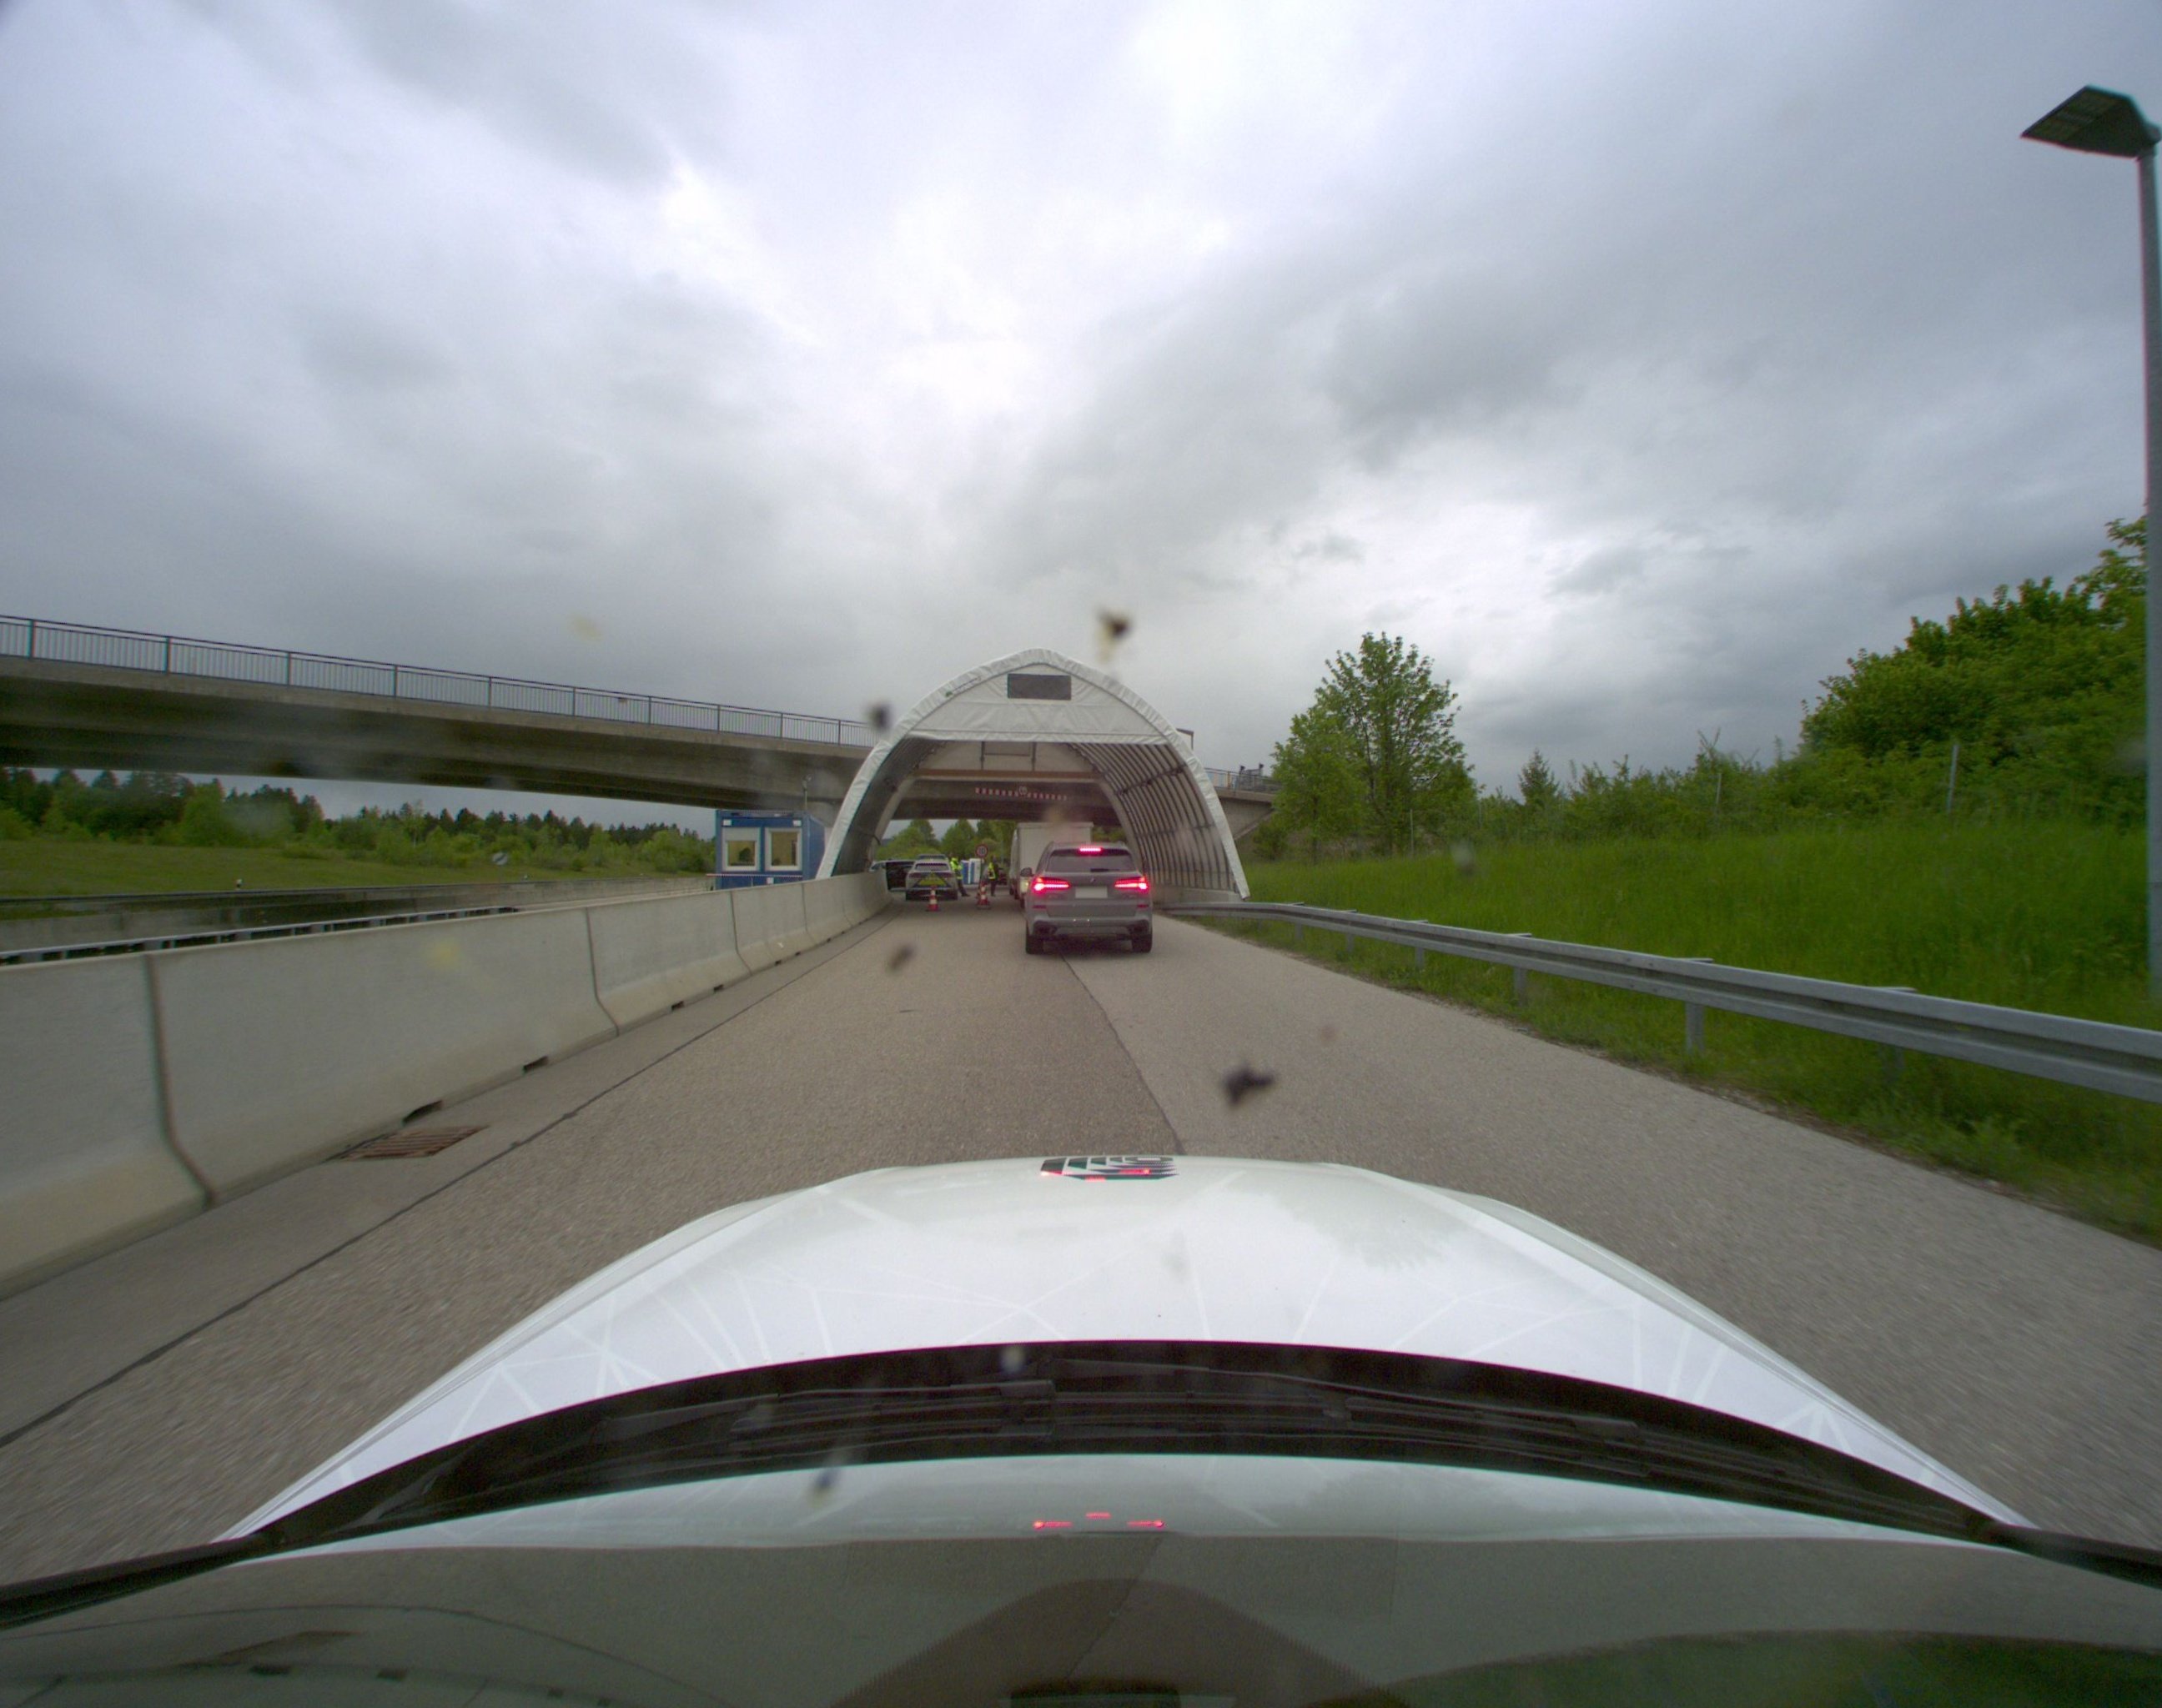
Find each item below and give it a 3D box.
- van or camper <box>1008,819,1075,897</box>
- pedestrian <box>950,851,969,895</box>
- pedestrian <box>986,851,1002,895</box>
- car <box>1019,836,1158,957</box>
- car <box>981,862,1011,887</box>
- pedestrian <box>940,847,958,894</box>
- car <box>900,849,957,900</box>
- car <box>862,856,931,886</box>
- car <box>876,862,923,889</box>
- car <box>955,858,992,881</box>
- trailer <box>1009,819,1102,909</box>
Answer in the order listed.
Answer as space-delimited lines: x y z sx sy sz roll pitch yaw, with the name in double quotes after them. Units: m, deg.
-1.664 0.203 31.966 2.155 2.764 5.856 -1 -1 -7 "van or camper"
-4.979 0.770 33.357 0.720 1.775 0.688 -1 -1 -9 "pedestrian"
-3.613 0.771 33.648 0.604 1.775 0.648 -1 -1 -9 "pedestrian"
0.071 0.642 13.816 1.988 1.719 3.997 -1 -1 -1 "car"
-6.591 1.569 62.667 1.706 1.854 3.981 -1 -1 -14 "car"
-5.551 0.692 34.289 0.720 1.945 0.688 -1 -1 -9 "pedestrian"
-5.729 0.747 30.916 1.993 1.772 3.753 -1 -1 -9 "car"
-12.102 1.096 53.548 3.966 1.854 1.712 -2 -1 6 "car"
-10.398 1.235 46.555 1.526 1.442 3.280 -1 -1 -34 "car"
-9.600 1.369 72.371 2.005 2.014 3.963 -1 -1 -28 "car"
-0.991 0.342 25.662 2.277 2.431 6.799 -1 -1 -7 "trailer"
